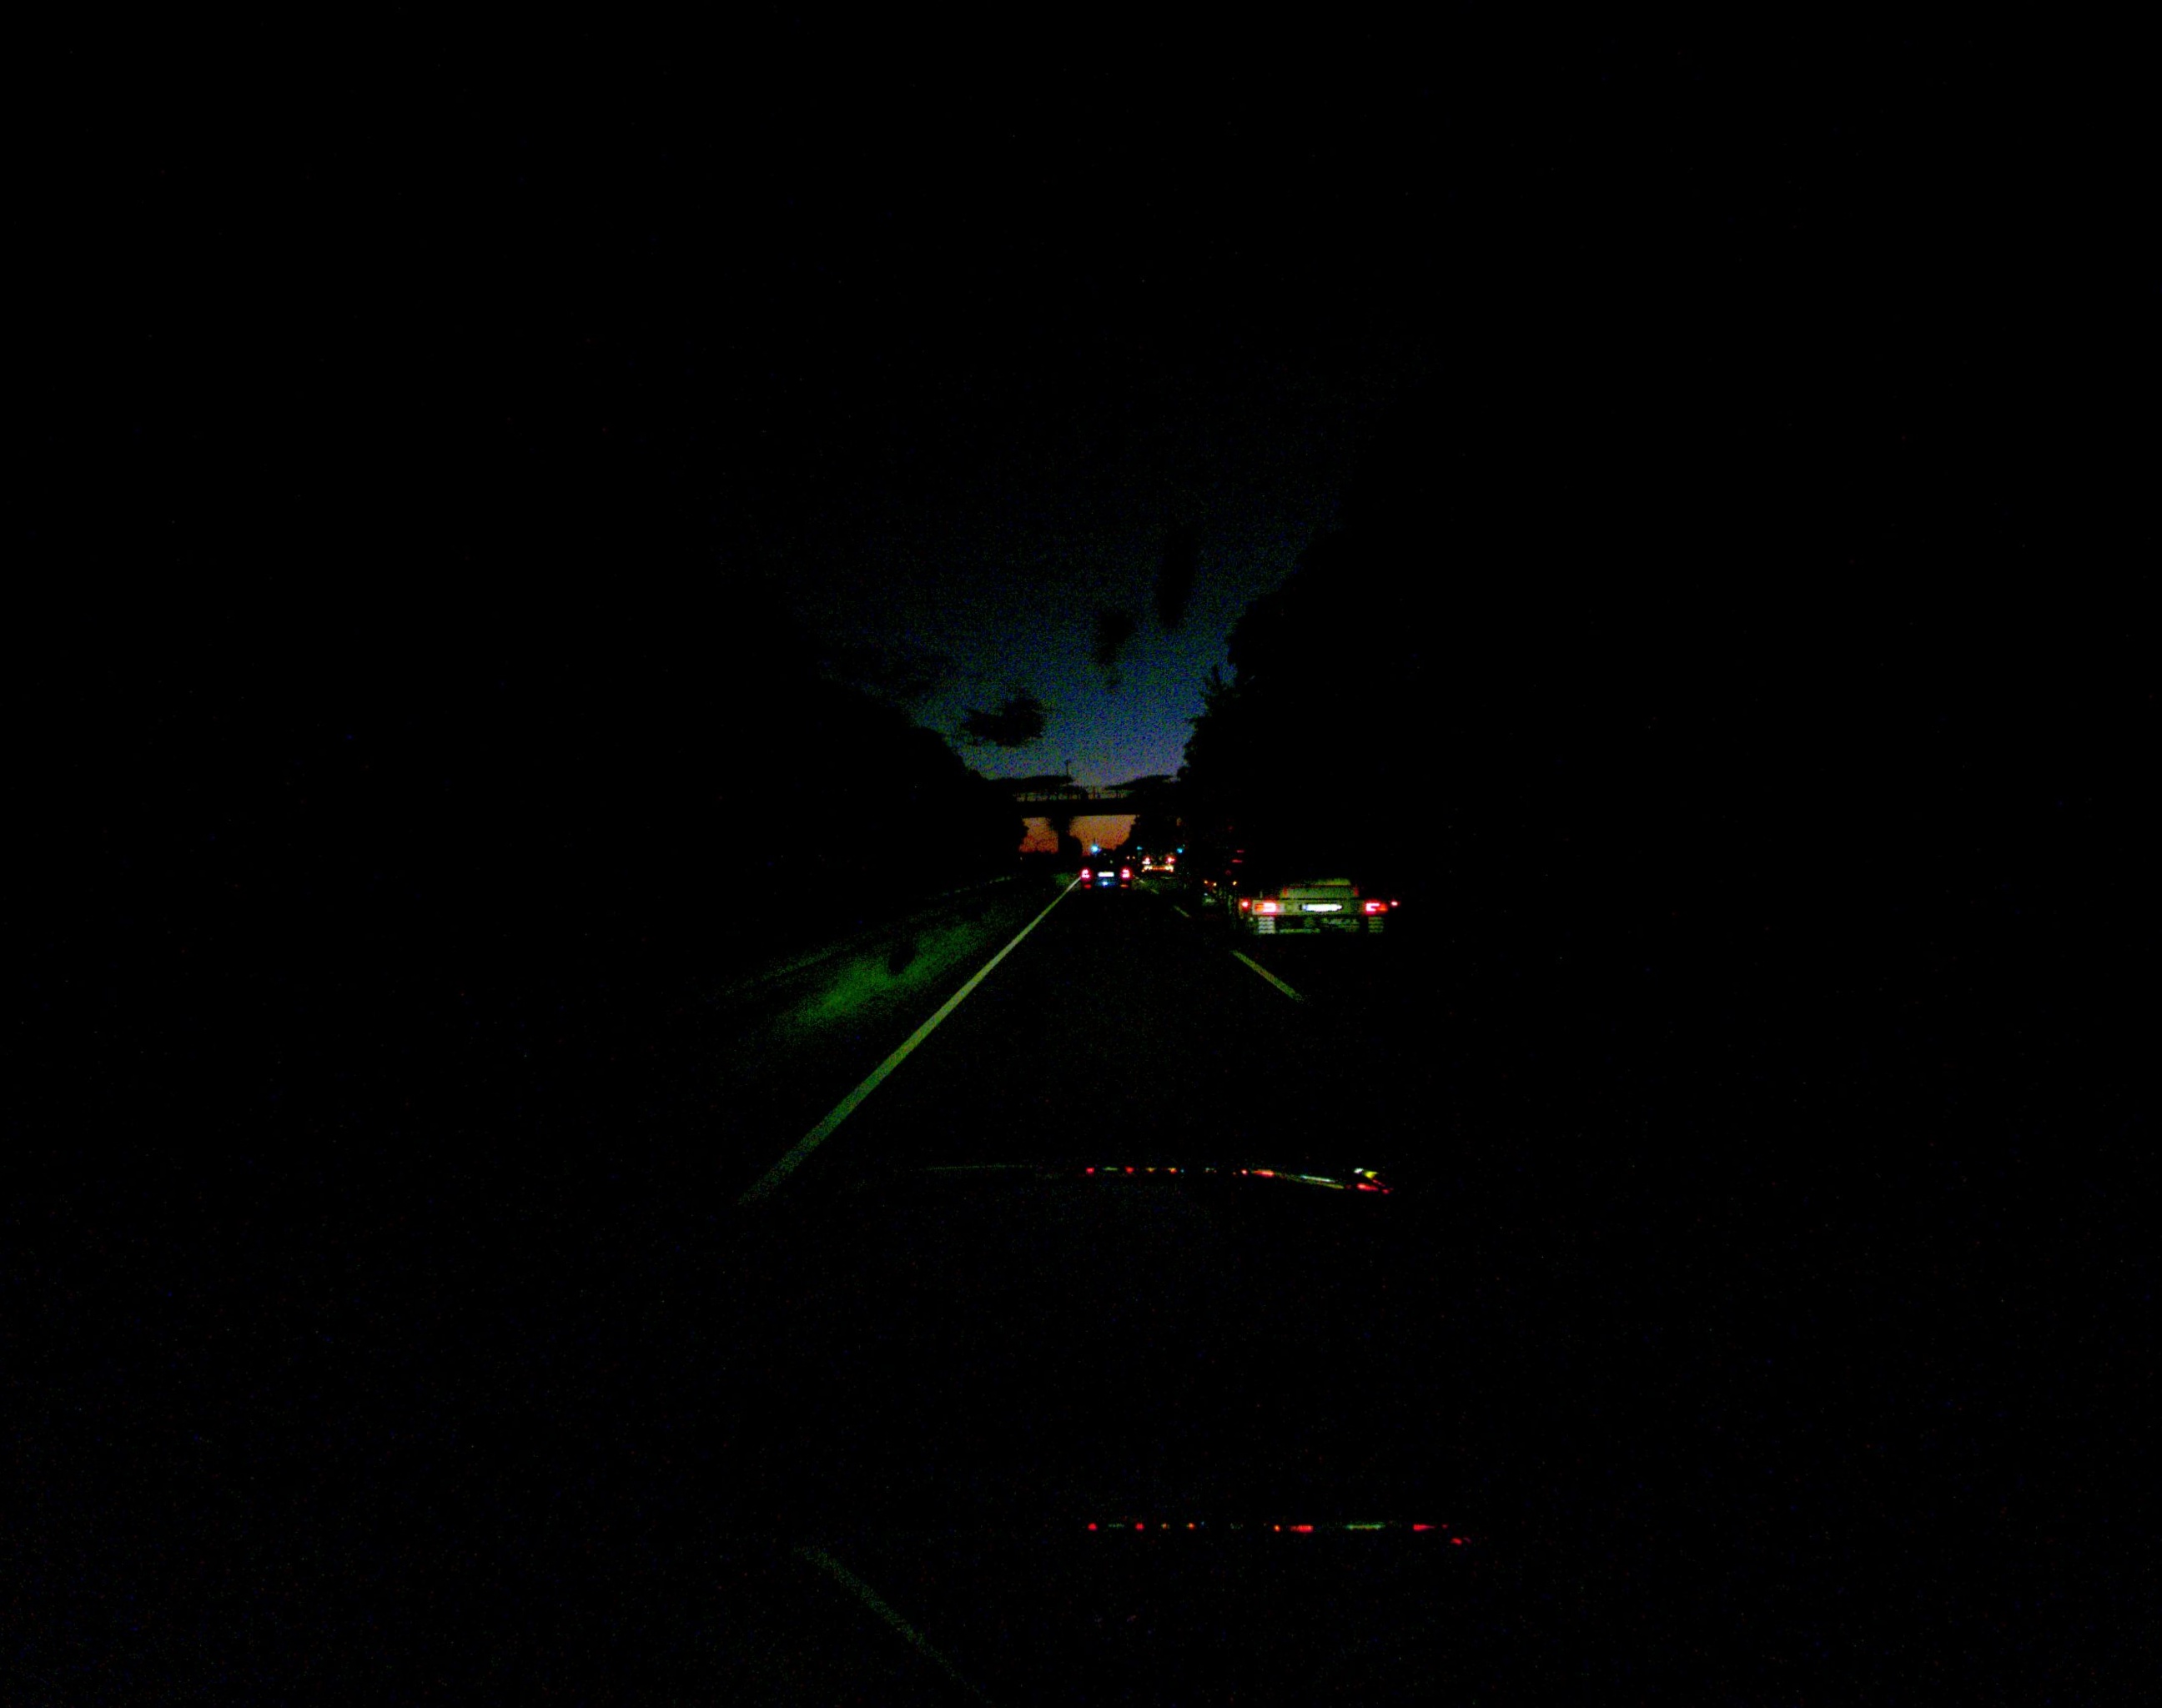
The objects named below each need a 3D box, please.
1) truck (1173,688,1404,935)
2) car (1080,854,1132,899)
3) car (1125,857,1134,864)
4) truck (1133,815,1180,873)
[{"bbox_3d":[4.208,-0.666,20.172,2.677,4.106,13.145,0,0,2],"label":"truck"},{"bbox_3d":[0.873,0.740,28.555,1.689,1.452,3.915,0,0,1],"label":"car"},{"bbox_3d":[10.206,1.334,172.418,1.689,1.452,3.915,0,0,1],"label":"car"},{"bbox_3d":[5.760,-0.674,64.400,2.872,4.106,12.687,0,0,2],"label":"truck"}]
